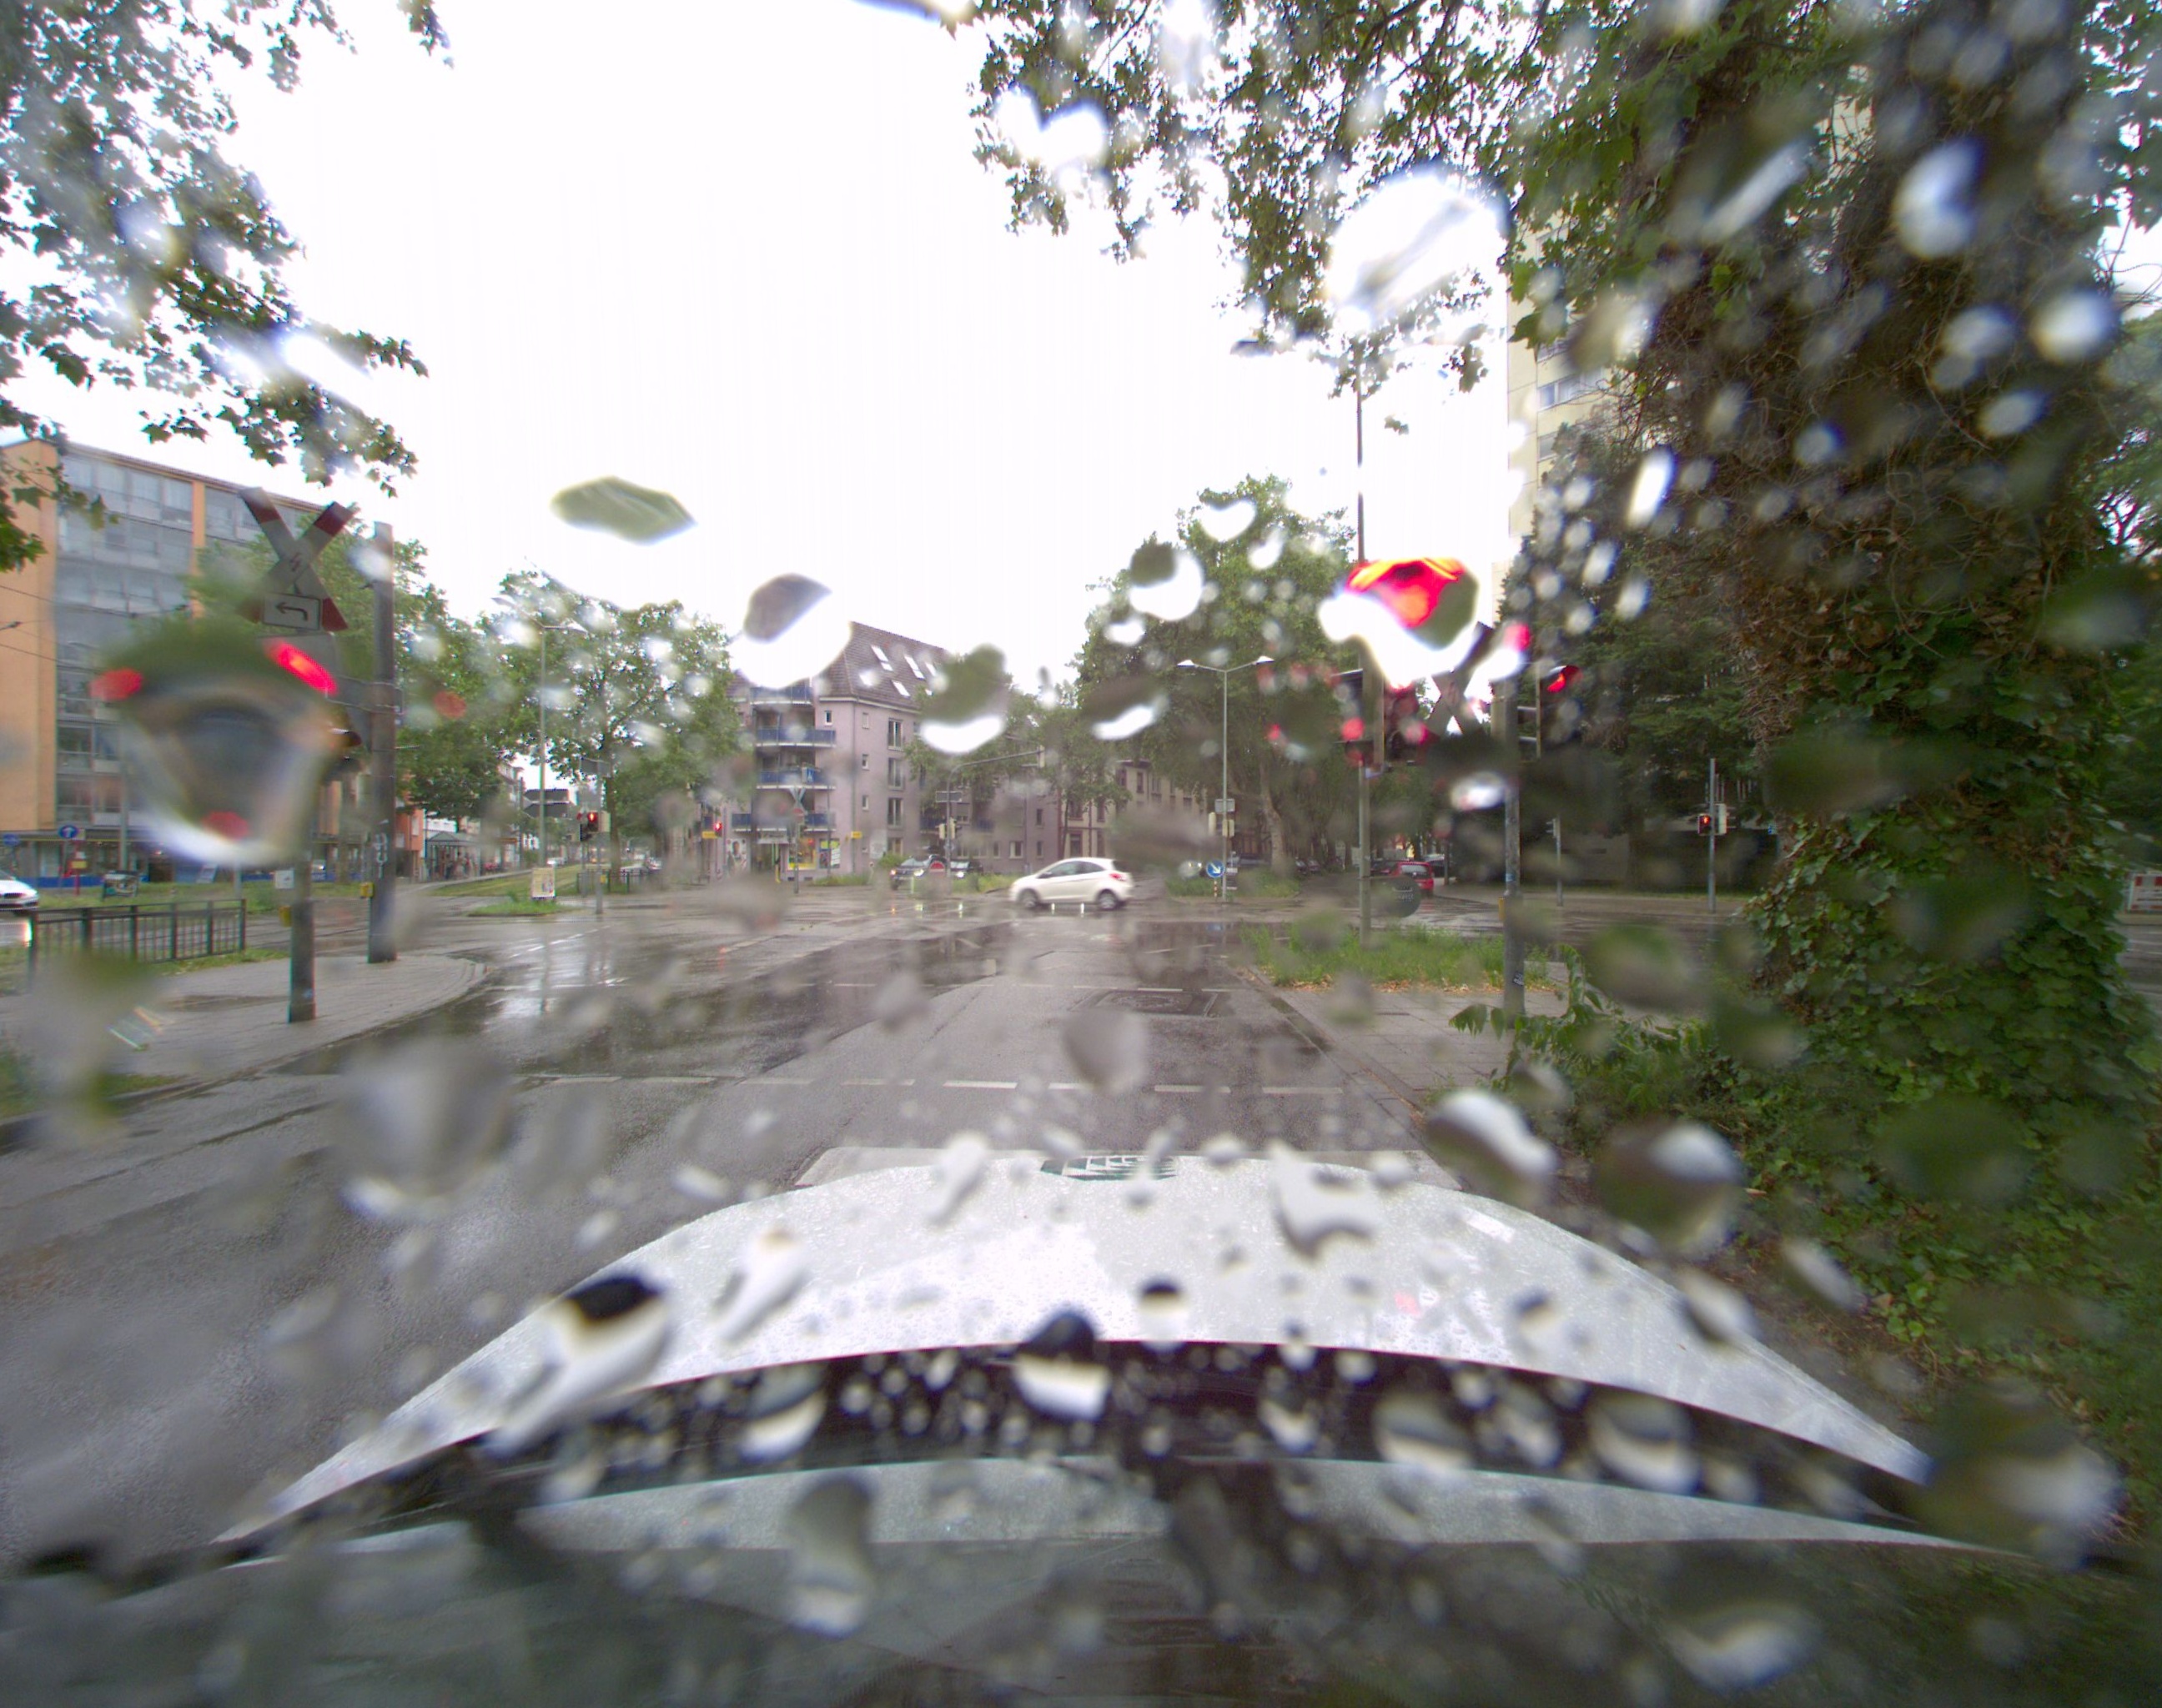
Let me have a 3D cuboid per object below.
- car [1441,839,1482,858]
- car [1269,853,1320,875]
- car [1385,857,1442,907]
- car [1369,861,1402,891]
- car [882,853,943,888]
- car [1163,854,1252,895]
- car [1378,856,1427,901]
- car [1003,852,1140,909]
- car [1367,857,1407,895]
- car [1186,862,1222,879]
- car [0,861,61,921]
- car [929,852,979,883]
[{"bbox_3d":[42.585,-0.612,91.198,3.953,2.013,1.716,-2,0,21],"label":"car"},{"bbox_3d":[17.049,0.795,65.158,3.571,1.618,1.692,-2,0,30],"label":"car"},{"bbox_3d":[14.714,1.212,36.226,1.977,2.013,4.019,-2,0,18],"label":"car"},{"bbox_3d":[22.076,1.562,59.132,1.977,2.013,4.019,-2,0,18],"label":"car"},{"bbox_3d":[-8.037,0.754,39.111,1.715,1.552,3.567,-2,0,8],"label":"car"},{"bbox_3d":[5.141,0.814,32.982,3.457,1.523,1.524,-2,0,10],"label":"car"},{"bbox_3d":[15.959,1.167,40.596,1.977,2.013,4.019,-2,0,18],"label":"car"},{"bbox_3d":[-0.237,0.755,23.757,3.615,1.486,1.731,-2,0,13],"label":"car"},{"bbox_3d":[17.805,1.241,47.557,1.977,2.013,4.019,-2,0,18],"label":"car"},{"bbox_3d":[12.249,1.626,81.040,1.660,1.552,4.225,-2,0,38],"label":"car"},{"bbox_3d":[-32.156,1.117,23.422,3.978,1.651,1.980,-2,0,13],"label":"car"},{"bbox_3d":[-6.992,0.714,45.194,1.715,1.552,3.567,-2,0,8],"label":"car"}]
